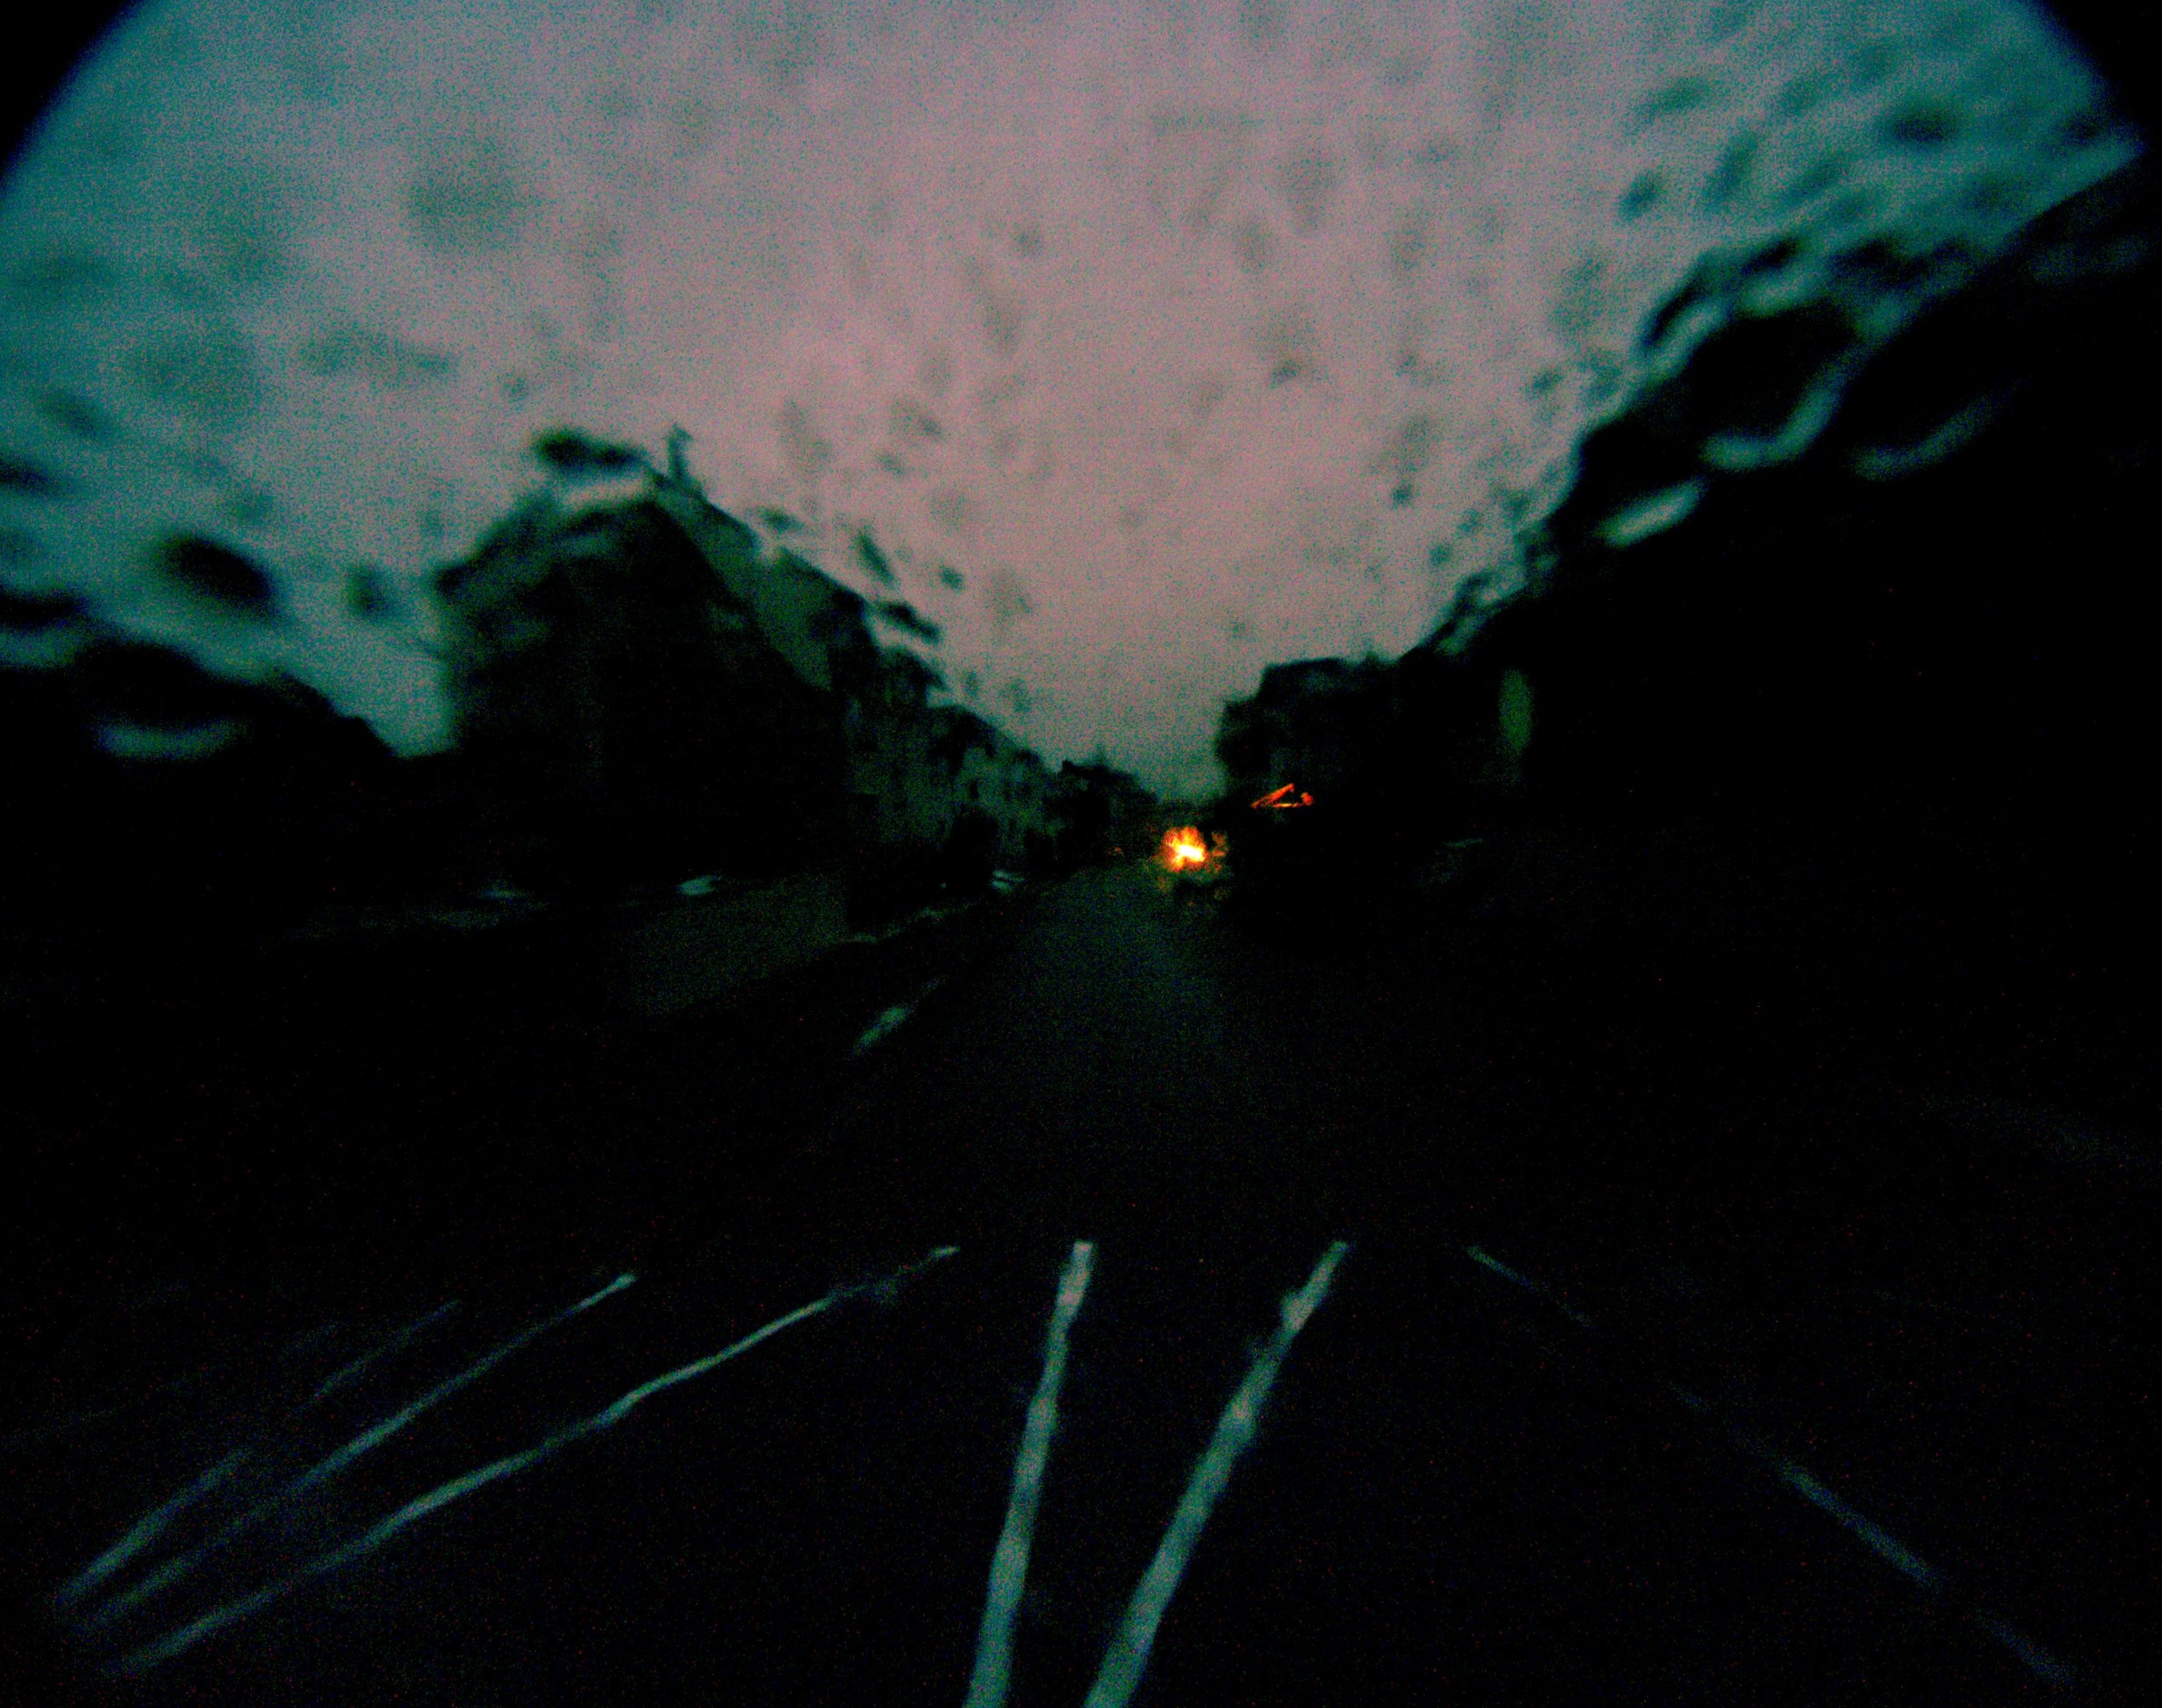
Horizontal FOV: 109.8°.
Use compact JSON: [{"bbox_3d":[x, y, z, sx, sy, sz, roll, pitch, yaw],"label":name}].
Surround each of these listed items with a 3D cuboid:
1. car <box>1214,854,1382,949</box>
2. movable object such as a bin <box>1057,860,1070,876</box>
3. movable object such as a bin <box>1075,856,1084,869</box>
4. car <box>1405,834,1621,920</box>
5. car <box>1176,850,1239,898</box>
[{"bbox_3d":[3.935,0.765,14.751,1.882,1.386,5.074,-2,1,1],"label":"car"},{"bbox_3d":[-1.028,0.826,44.489,0.638,0.912,0.686,-3,1,6],"label":"movable object such as a bin"},{"bbox_3d":[-0.092,0.660,56.772,0.538,0.932,0.689,-3,1,6],"label":"movable object such as a bin"},{"bbox_3d":[8.922,0.456,15.947,3.471,1.519,1.774,-3,1,5],"label":"car"},{"bbox_3d":[4.316,0.636,26.380,1.622,1.430,3.656,-2,1,1],"label":"car"}]
